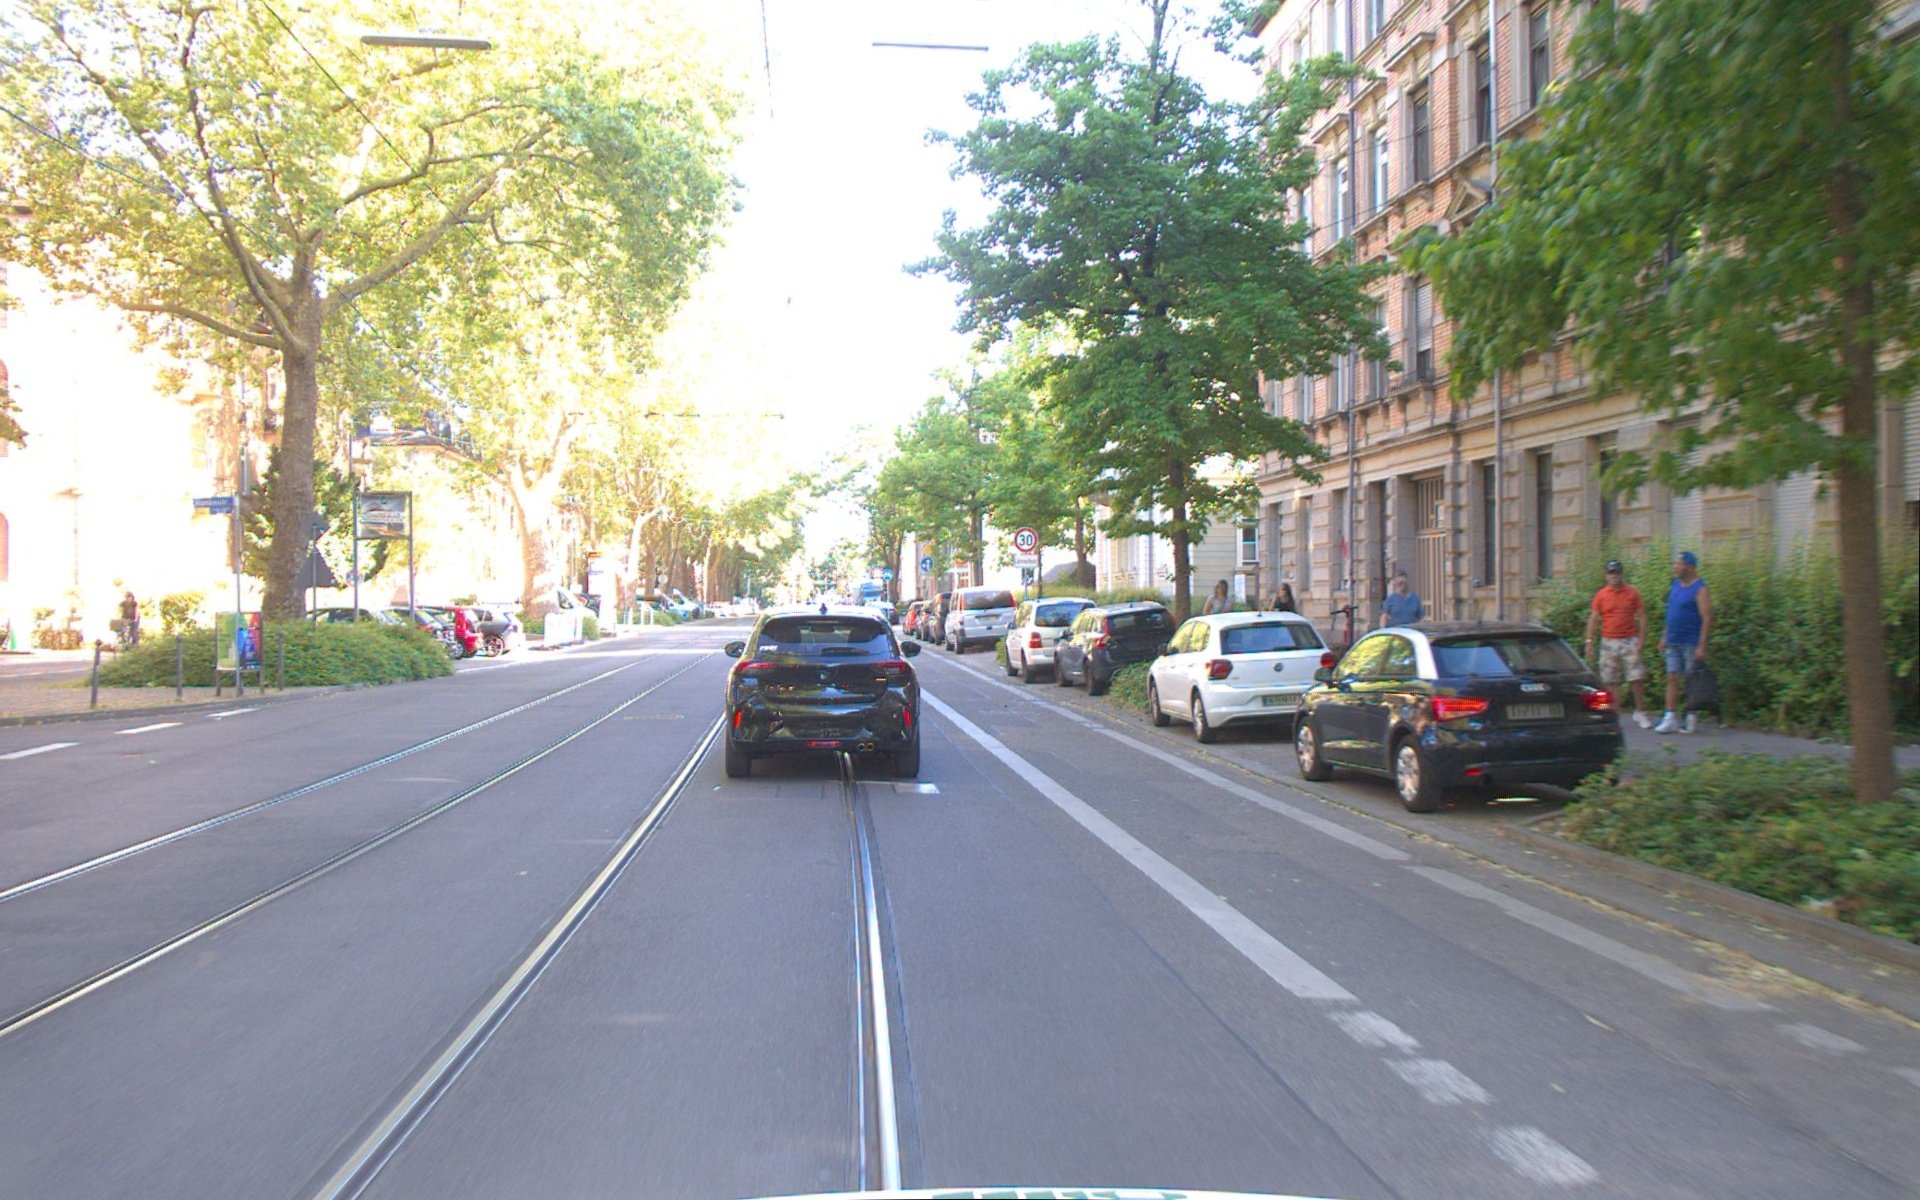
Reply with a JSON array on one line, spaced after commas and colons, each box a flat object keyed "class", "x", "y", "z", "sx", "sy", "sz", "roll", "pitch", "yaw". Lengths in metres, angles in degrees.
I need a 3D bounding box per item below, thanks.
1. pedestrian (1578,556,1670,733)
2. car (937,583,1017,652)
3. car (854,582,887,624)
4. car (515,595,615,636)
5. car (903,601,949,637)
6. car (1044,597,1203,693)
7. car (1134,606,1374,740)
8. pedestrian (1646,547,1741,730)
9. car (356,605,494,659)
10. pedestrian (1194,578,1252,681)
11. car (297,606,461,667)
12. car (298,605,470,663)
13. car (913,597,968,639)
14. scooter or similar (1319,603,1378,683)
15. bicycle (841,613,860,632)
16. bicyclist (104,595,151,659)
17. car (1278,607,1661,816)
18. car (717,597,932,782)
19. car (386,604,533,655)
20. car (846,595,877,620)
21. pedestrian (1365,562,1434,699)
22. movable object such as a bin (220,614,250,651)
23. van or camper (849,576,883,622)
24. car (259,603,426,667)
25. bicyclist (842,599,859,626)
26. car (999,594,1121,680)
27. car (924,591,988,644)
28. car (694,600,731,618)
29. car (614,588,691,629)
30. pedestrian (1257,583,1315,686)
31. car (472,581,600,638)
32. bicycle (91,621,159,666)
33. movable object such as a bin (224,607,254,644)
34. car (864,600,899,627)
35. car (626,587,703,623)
[{"class": "pedestrian", "x": 7.023, "y": 0.462, "z": 17.519, "sx": 0.589, "sy": 1.824, "sz": 0.725, "roll": 1, "pitch": -1, "yaw": -17}, {"class": "car", "x": 0.455, "y": 0.513, "z": 50.202, "sx": 1.848, "sy": 1.883, "sz": 4.961, "roll": -3, "pitch": 0, "yaw": -6}, {"class": "car", "x": -6.367, "y": 0.211, "z": 116.830, "sx": 2.045, "sy": 2.820, "sz": 4.692, "roll": -2, "pitch": 0, "yaw": -6}, {"class": "car", "x": -17.881, "y": 0.699, "z": 74.953, "sx": 4.219, "sy": 1.833, "sz": 1.922, "roll": 0, "pitch": 0, "yaw": -8}, {"class": "car", "x": -1.545, "y": 0.851, "z": 73.608, "sx": 1.670, "sy": 1.448, "sz": 3.973, "roll": -4, "pitch": 0, "yaw": -6}, {"class": "car", "x": 2.845, "y": 0.763, "z": 29.865, "sx": 1.848, "sy": 1.492, "sz": 4.586, "roll": -3, "pitch": 0, "yaw": -7}, {"class": "car", "x": 3.511, "y": 0.823, "z": 20.532, "sx": 1.848, "sy": 1.391, "sz": 4.102, "roll": -3, "pitch": 0, "yaw": -6}, {"class": "pedestrian", "x": 7.462, "y": 0.386, "z": 16.850, "sx": 0.587, "sy": 1.824, "sz": 0.727, "roll": 1, "pitch": -1, "yaw": -8}, {"class": "car", "x": -15.131, "y": 0.888, "z": 46.884, "sx": 3.352, "sy": 1.490, "sz": 1.758, "roll": 0, "pitch": 0, "yaw": -4}, {"class": "pedestrian", "x": 4.463, "y": 0.499, "z": 28.106, "sx": 0.712, "sy": 1.722, "sz": 0.955, "roll": 1, "pitch": -1, "yaw": -8}, {"class": "car", "x": -14.616, "y": 0.906, "z": 41.745, "sx": 3.530, "sy": 1.490, "sz": 1.685, "roll": 0, "pitch": 0, "yaw": -4}, {"class": "car", "x": -15.483, "y": 0.905, "z": 44.608, "sx": 4.001, "sy": 1.490, "sz": 1.819, "roll": 0, "pitch": 0, "yaw": -4}, {"class": "car", "x": -0.797, "y": 0.692, "z": 64.941, "sx": 1.679, "sy": 1.540, "sz": 4.030, "roll": -3, "pitch": 0, "yaw": -7}, {"class": "scooter or similar", "x": 6.353, "y": 0.693, "z": 27.097, "sx": 0.564, "sy": 1.268, "sz": 1.334, "roll": 0, "pitch": 0, "yaw": -4}, {"class": "bicycle", "x": -6.285, "y": 1.287, "z": 95.010, "sx": 0.949, "sy": 1.016, "sz": 2.579, "roll": 0, "pitch": 0, "yaw": -7}, {"class": "bicyclist", "x": -20.043, "y": 0.643, "z": 39.816, "sx": 0.786, "sy": 1.533, "sz": 1.112, "roll": 1, "pitch": -1, "yaw": -16}, {"class": "car", "x": 4.118, "y": 0.822, "z": 14.048, "sx": 1.641, "sy": 1.437, "sz": 3.837, "roll": -3, "pitch": 0, "yaw": -7}, {"class": "car", "x": -1.271, "y": 0.736, "z": 15.367, "sx": 1.729, "sy": 1.486, "sz": 3.946, "roll": 0, "pitch": 0, "yaw": -5}, {"class": "car", "x": -15.004, "y": 0.887, "z": 49.757, "sx": 3.910, "sy": 1.490, "sz": 1.852, "roll": 0, "pitch": 0, "yaw": -6}, {"class": "car", "x": -7.784, "y": 0.614, "z": 130.502, "sx": 2.210, "sy": 1.873, "sz": 5.524, "roll": -2, "pitch": 0, "yaw": -6}, {"class": "pedestrian", "x": 5.964, "y": 0.409, "z": 22.445, "sx": 0.720, "sy": 1.824, "sz": 0.593, "roll": 1, "pitch": -1, "yaw": -35}, {"class": "movable object such as a bin", "x": -22.540, "y": 1.009, "z": 51.425, "sx": 0.710, "sy": 1.129, "sz": 0.542, "roll": 0, "pitch": -1, "yaw": -4}, {"class": "van or camper", "x": -7.014, "y": -0.042, "z": 123.357, "sx": 2.210, "sy": 3.272, "sz": 5.524, "roll": -2, "pitch": 0, "yaw": -6}, {"class": "car", "x": -14.699, "y": 0.821, "z": 39.503, "sx": 3.352, "sy": 1.490, "sz": 1.696, "roll": 0, "pitch": 0, "yaw": -4}, {"class": "bicyclist", "x": -6.288, "y": 0.731, "z": 94.993, "sx": 0.940, "sy": 1.525, "sz": 1.092, "roll": 0, "pitch": -1, "yaw": -7}, {"class": "car", "x": 2.009, "y": 0.732, "z": 34.510, "sx": 1.848, "sy": 1.595, "sz": 4.237, "roll": -3, "pitch": 0, "yaw": -6}, {"class": "car", "x": -0.182, "y": 0.618, "z": 59.178, "sx": 1.849, "sy": 1.797, "sz": 4.672, "roll": -1, "pitch": 0, "yaw": -6}, {"class": "car", "x": -28.426, "y": 1.060, "z": 189.802, "sx": 3.905, "sy": 2.049, "sz": 2.000, "roll": 0, "pitch": 0, "yaw": 1}, {"class": "car", "x": -21.285, "y": 0.585, "z": 114.691, "sx": 4.939, "sy": 2.415, "sz": 2.079, "roll": -4, "pitch": 0, "yaw": -6}, {"class": "pedestrian", "x": 5.545, "y": 0.582, "z": 28.195, "sx": 0.713, "sy": 1.739, "sz": 0.854, "roll": 1, "pitch": -1, "yaw": -9}, {"class": "car", "x": -17.614, "y": 0.385, "z": 68.975, "sx": 4.940, "sy": 2.299, "sz": 2.081, "roll": 1, "pitch": 0, "yaw": -9}, {"class": "bicycle", "x": -20.014, "y": 1.025, "z": 39.713, "sx": 0.952, "sy": 1.016, "sz": 2.572, "roll": 1, "pitch": 0, "yaw": -15}, {"class": "movable object such as a bin", "x": -22.652, "y": 0.802, "z": 51.975, "sx": 0.709, "sy": 1.129, "sz": 0.560, "roll": 0, "pitch": -1, "yaw": -4}, {"class": "car", "x": -4.735, "y": 0.795, "z": 99.473, "sx": 1.848, "sy": 1.459, "sz": 4.524, "roll": -3, "pitch": 0, "yaw": -6}, {"class": "car", "x": -22.719, "y": 0.390, "z": 127.312, "sx": 5.525, "sy": 2.638, "sz": 2.195, "roll": 0, "pitch": 0, "yaw": -2}]
